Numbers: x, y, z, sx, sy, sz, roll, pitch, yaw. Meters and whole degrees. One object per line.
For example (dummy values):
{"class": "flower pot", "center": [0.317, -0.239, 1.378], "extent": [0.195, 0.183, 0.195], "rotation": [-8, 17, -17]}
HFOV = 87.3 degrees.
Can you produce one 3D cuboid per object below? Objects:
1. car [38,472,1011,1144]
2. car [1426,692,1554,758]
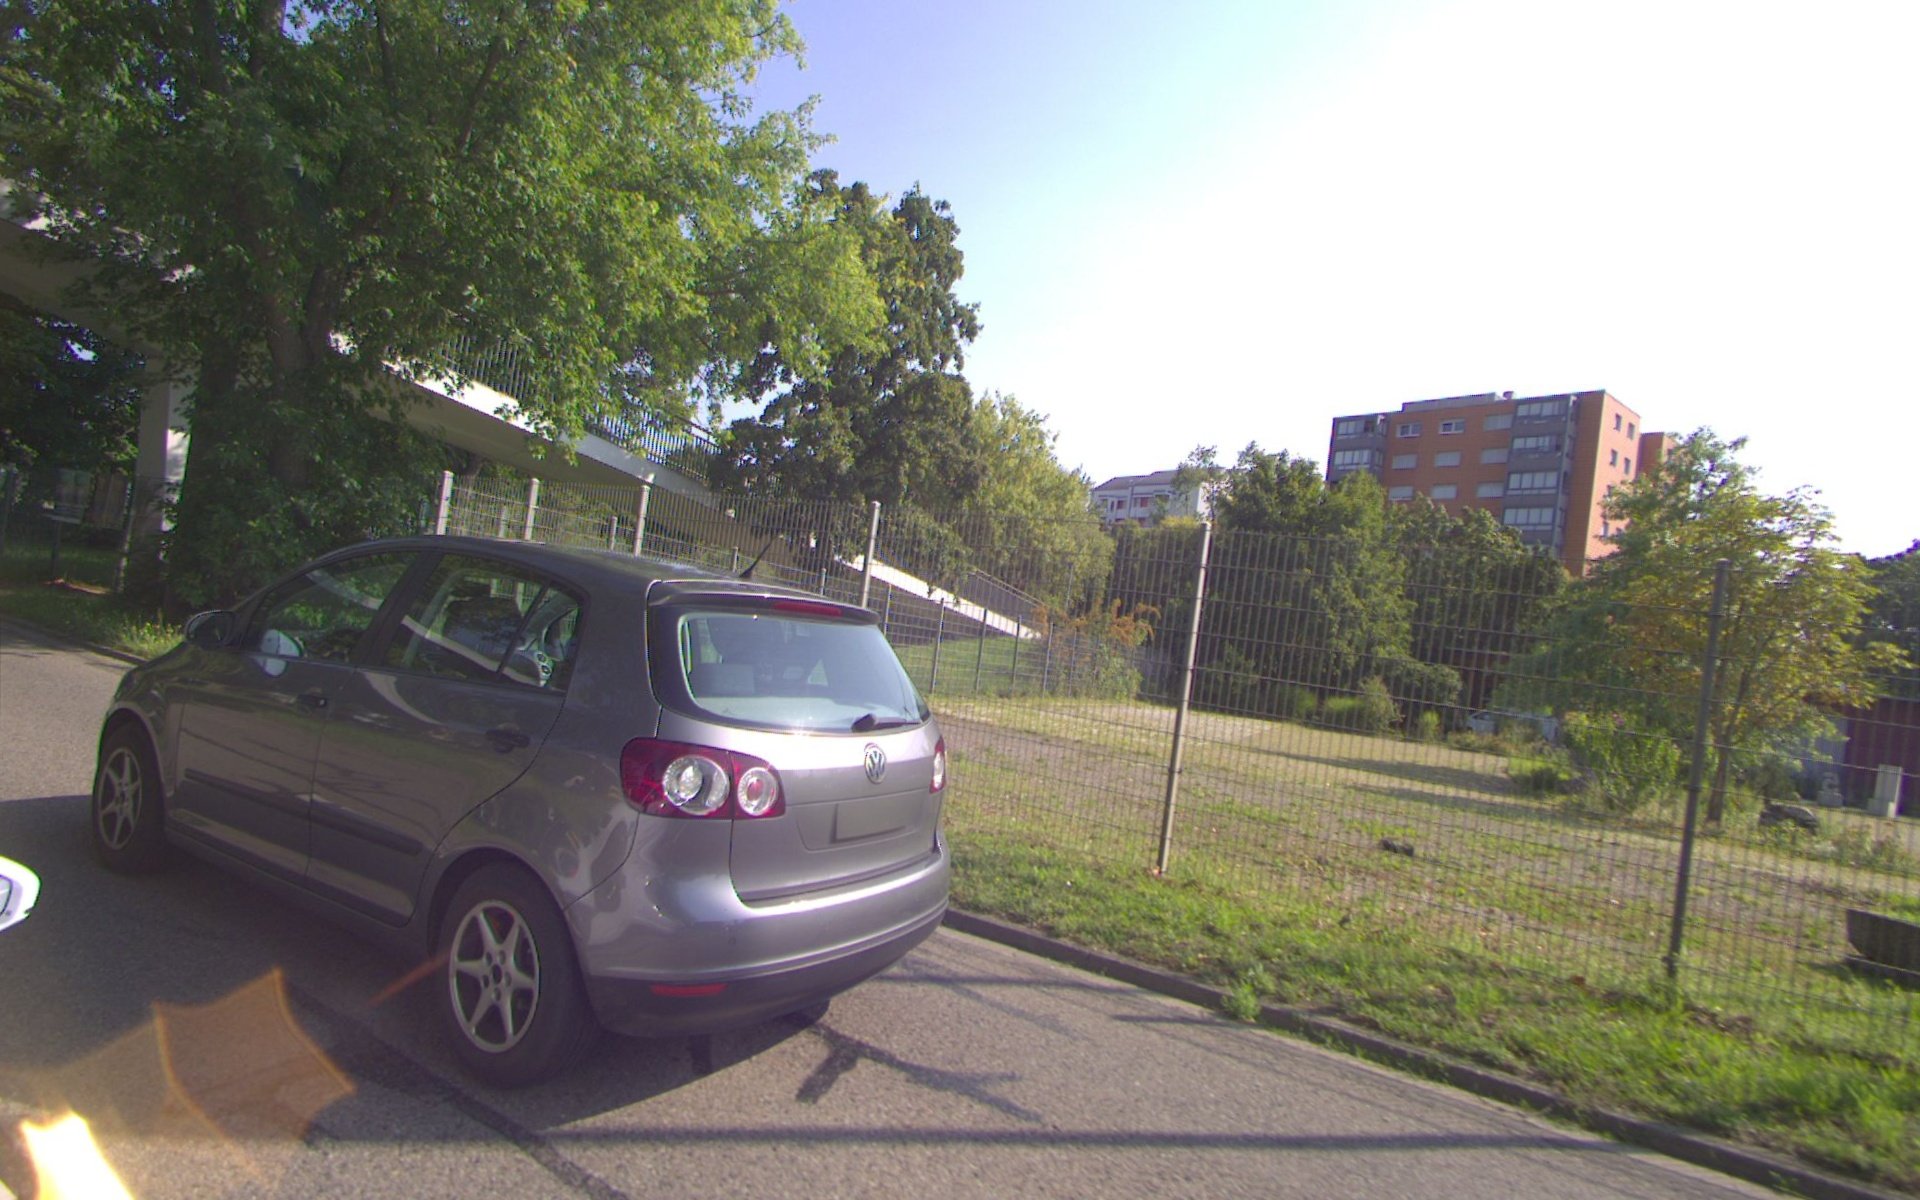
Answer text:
{"class": "car", "center": [-1.942, 0.479, 4.203], "extent": [3.833, 1.574, 1.649], "rotation": [6, -3, 31]}
{"class": "car", "center": [19.417, 4.559, 36.913], "extent": [3.933, 1.736, 1.744], "rotation": [7, -2, 31]}
